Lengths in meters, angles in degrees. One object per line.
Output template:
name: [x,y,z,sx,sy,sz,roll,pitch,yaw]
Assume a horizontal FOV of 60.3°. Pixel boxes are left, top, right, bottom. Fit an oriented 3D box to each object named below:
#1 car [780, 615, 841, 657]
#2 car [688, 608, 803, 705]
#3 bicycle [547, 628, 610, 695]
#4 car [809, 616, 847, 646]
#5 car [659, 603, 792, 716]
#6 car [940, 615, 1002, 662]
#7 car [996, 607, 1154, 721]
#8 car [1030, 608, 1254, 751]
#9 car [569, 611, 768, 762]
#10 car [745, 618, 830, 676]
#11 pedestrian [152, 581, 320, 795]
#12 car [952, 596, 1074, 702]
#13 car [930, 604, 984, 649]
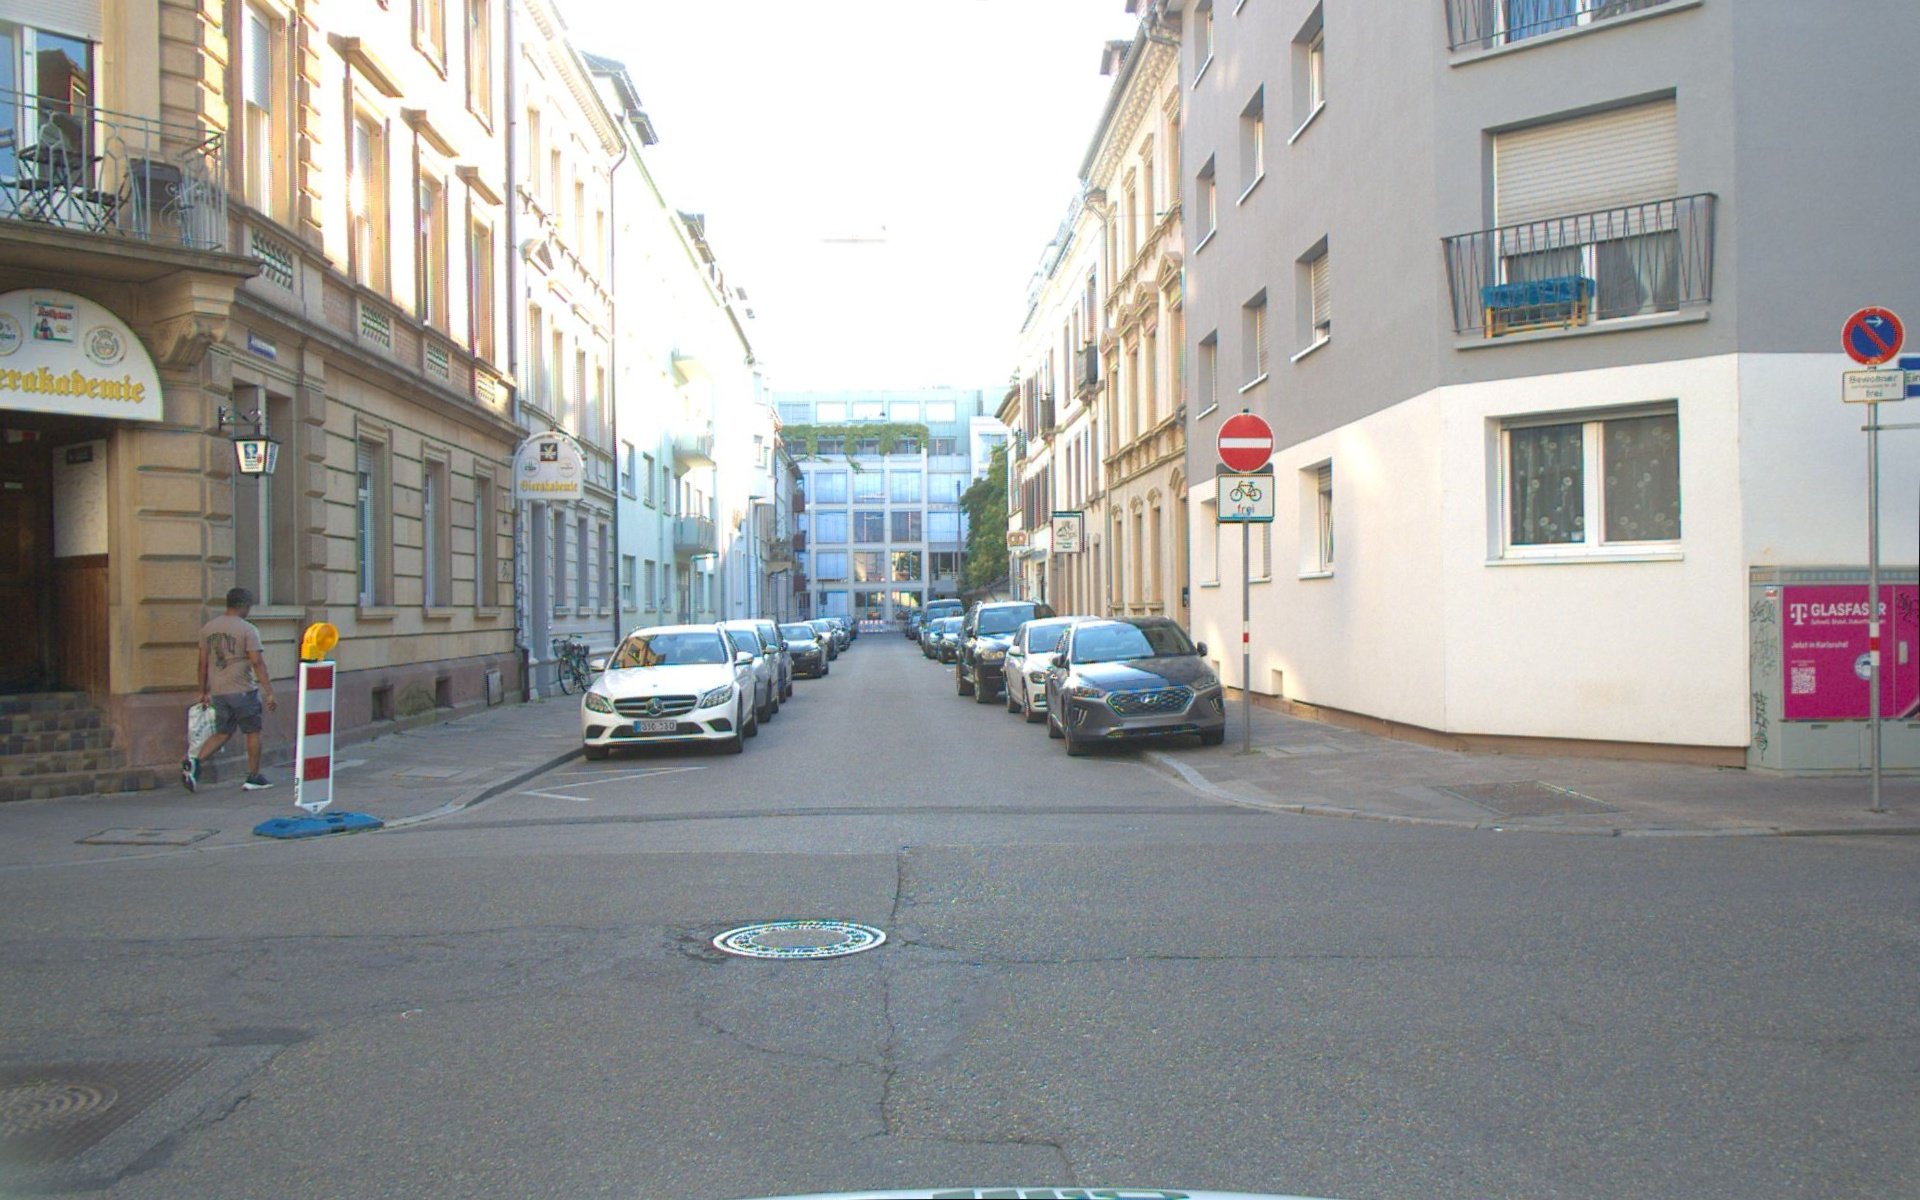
car: [-5.470,1.305,60.612,2.130,1.443,3.996,-1,0,-5]
car: [-4.003,1.014,31.377,1.749,1.688,3.815,-1,0,-1]
bicycle: [-7.180,1.130,31.205,0.723,1.181,2.460,0,0,-3]
car: [-6.181,1.438,77.688,1.673,1.325,3.997,-1,0,-4]
car: [-3.561,0.859,25.657,1.592,1.604,3.753,-1,0,-1]
car: [0.331,1.261,55.483,1.953,1.476,3.998,0,0,-2]
car: [1.669,0.908,25.263,1.924,1.584,3.886,-1,0,-3]
car: [1.987,0.838,19.205,1.900,1.396,3.786,-3,0,-4]
car: [-3.433,0.952,20.284,1.954,1.591,4.502,-1,0,-5]
car: [-4.439,1.177,43.077,1.954,1.378,4.426,-1,0,-3]
pedestrian: [-6.307,0.730,14.421,0.965,1.773,1.012,-1,-1,37]
car: [0.913,0.857,30.647,1.856,1.815,3.997,-1,0,-4]
car: [-0.151,1.024,66.440,1.954,1.730,3.997,0,0,-3]
